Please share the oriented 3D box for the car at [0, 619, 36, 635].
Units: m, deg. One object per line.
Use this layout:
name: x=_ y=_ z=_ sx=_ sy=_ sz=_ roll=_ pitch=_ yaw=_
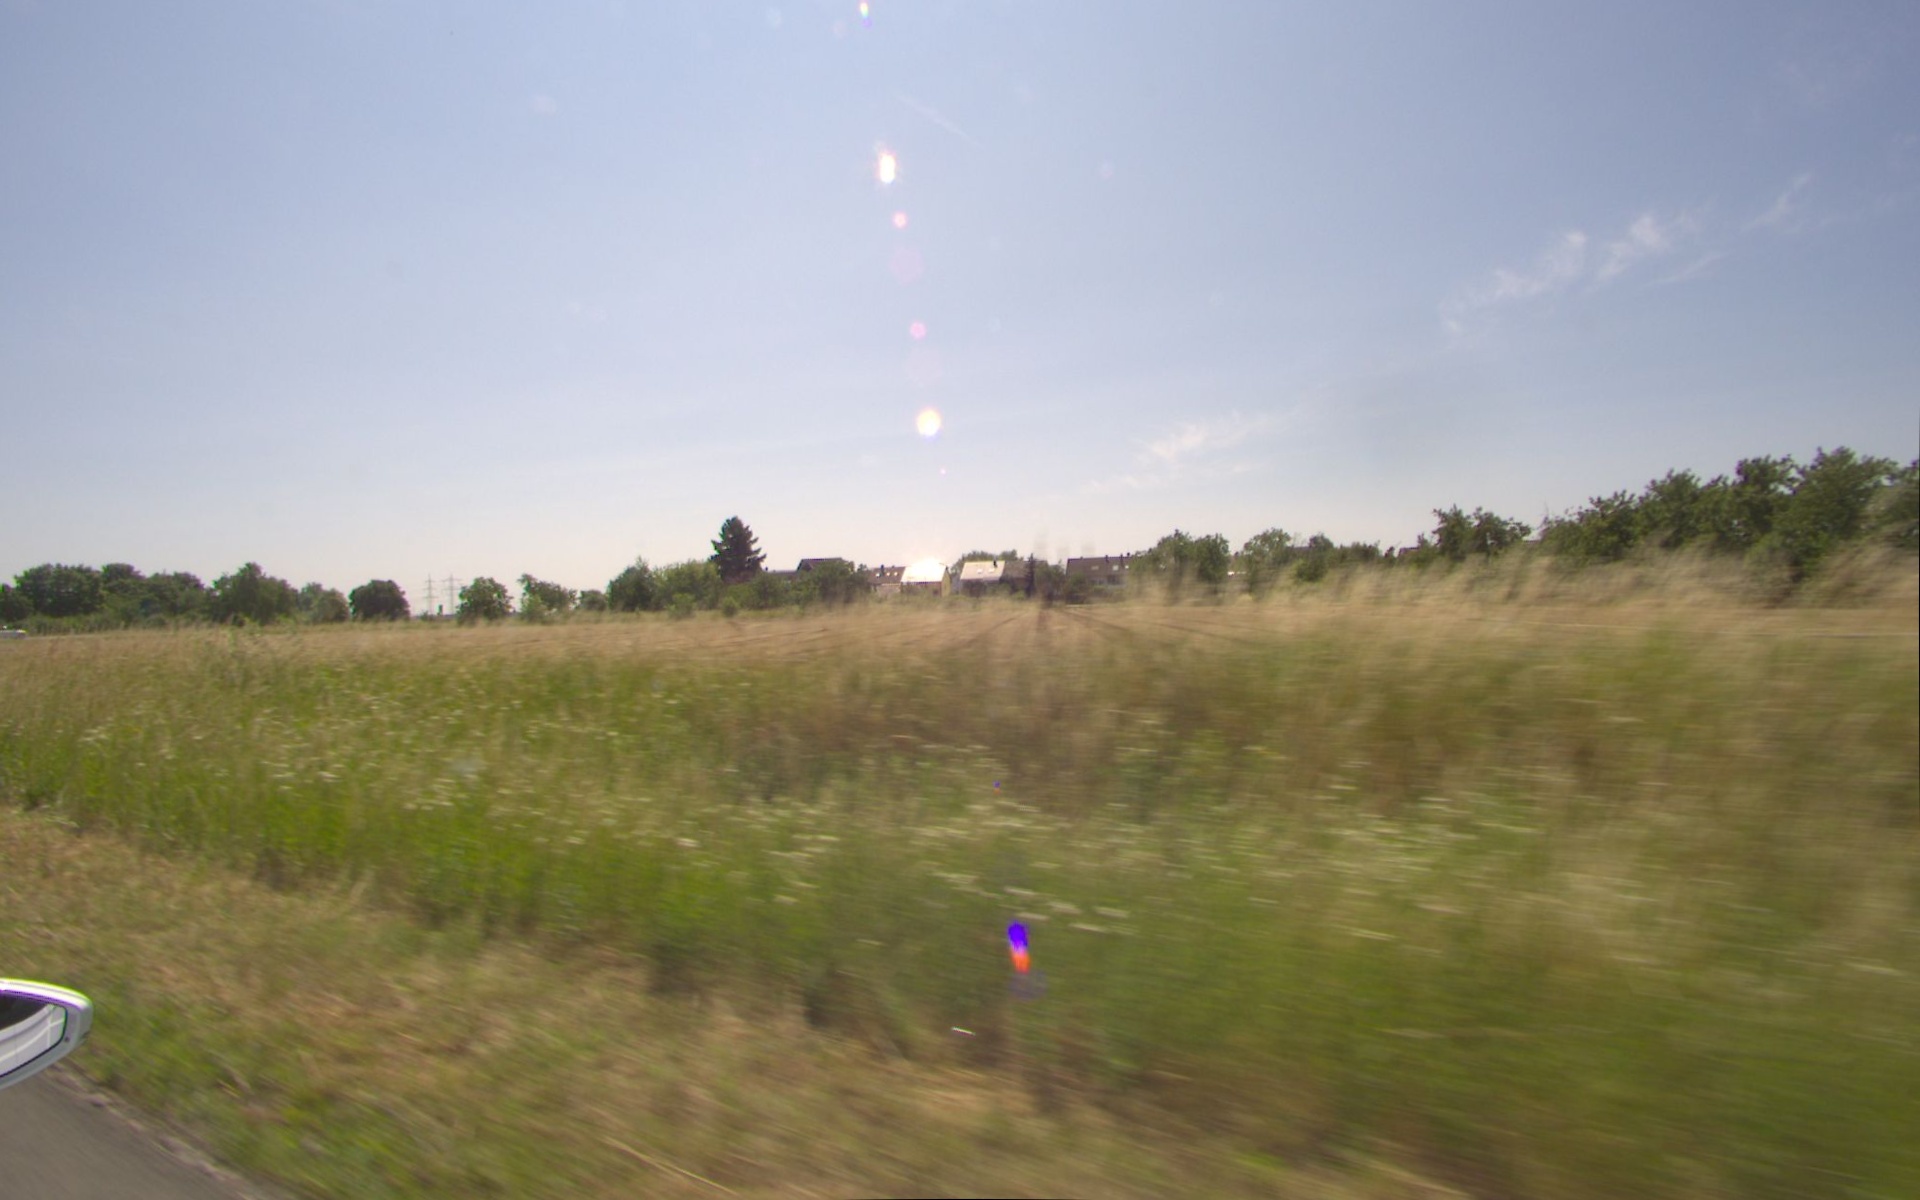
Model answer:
car: x=-106.423 y=3.024 z=112.242 sx=3.949 sy=1.645 sz=1.633 roll=-1 pitch=0 yaw=-36
